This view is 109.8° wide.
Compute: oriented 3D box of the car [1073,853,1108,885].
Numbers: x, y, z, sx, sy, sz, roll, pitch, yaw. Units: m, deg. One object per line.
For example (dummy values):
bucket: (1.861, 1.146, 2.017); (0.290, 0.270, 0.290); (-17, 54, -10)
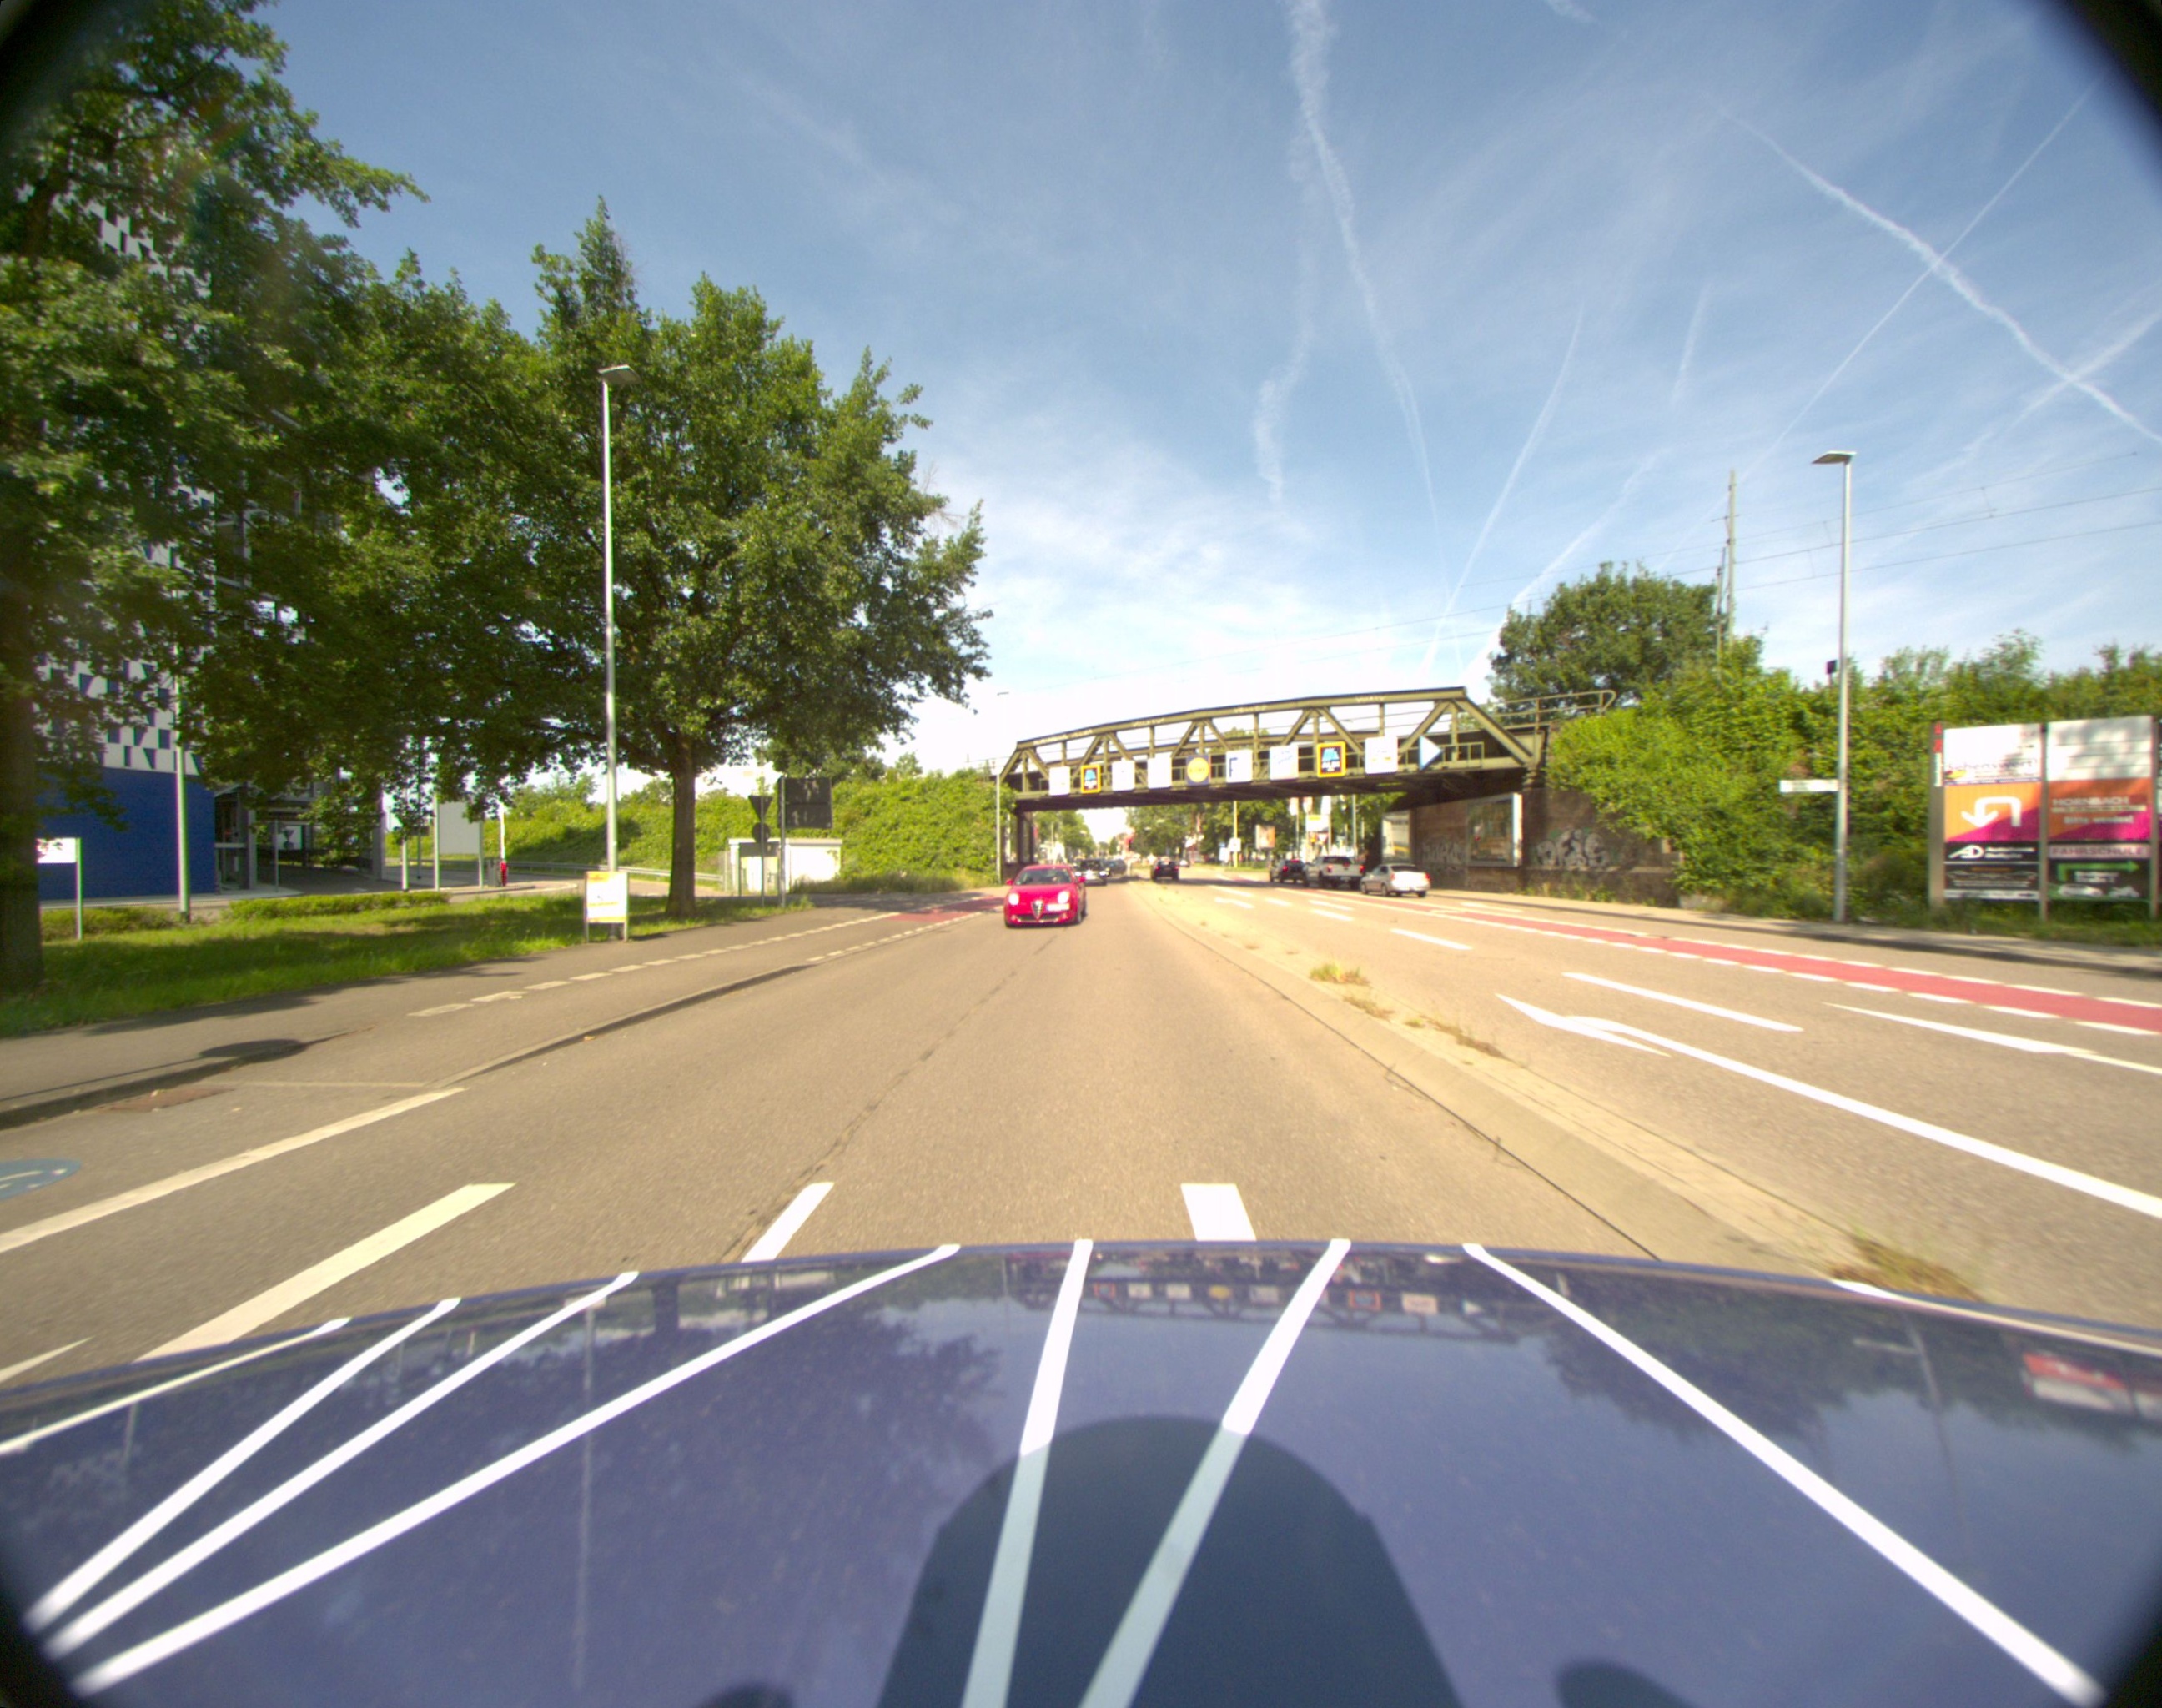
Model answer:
car: (0.585, 0.820, 43.619); (1.824, 1.632, 4.112); (-2, 0, 2)

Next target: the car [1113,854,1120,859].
car: (11.029, 0.801, 234.431); (1.927, 1.507, 3.824); (-2, 0, -1)

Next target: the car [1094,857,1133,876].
car: (2.884, 1.060, 66.746); (1.699, 1.564, 4.934); (1, 1, 25)

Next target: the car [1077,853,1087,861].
car: (0.161, 0.524, 136.339); (1.824, 1.569, 4.246); (0, 0, 0)

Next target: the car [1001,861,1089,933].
car: (-0.763, 0.969, 18.621); (1.798, 1.446, 3.979); (-2, 1, 2)

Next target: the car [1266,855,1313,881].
car: (13.527, 0.861, 49.581); (1.877, 1.586, 4.387); (0, 0, 1)

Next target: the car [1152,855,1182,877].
car: (6.093, 0.841, 54.143); (1.785, 1.438, 4.120); (0, 1, 1)

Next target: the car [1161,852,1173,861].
car: (16.170, 0.476, 142.727); (1.824, 1.711, 3.636); (-2, 0, -1)

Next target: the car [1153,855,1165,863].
car: (16.905, 1.089, 164.565); (1.927, 1.711, 3.824); (-2, 0, -1)

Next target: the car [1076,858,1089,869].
car: (0.225, 1.390, 115.606); (1.824, 1.569, 4.246); (0, 0, 0)

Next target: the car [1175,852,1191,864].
car: (15.318, 0.575, 114.305); (1.824, 1.711, 3.636); (-2, 0, -1)

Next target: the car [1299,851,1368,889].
car: (13.605, 0.798, 41.321); (1.998, 1.850, 5.451); (2, 0, 1)

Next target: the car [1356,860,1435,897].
car: (13.186, 0.994, 32.152); (1.639, 1.379, 4.318); (1, 0, 1)

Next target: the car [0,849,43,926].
car: (-23.715, 0.740, 14.435); (1.854, 1.629, 4.306); (-2, 0, 7)
